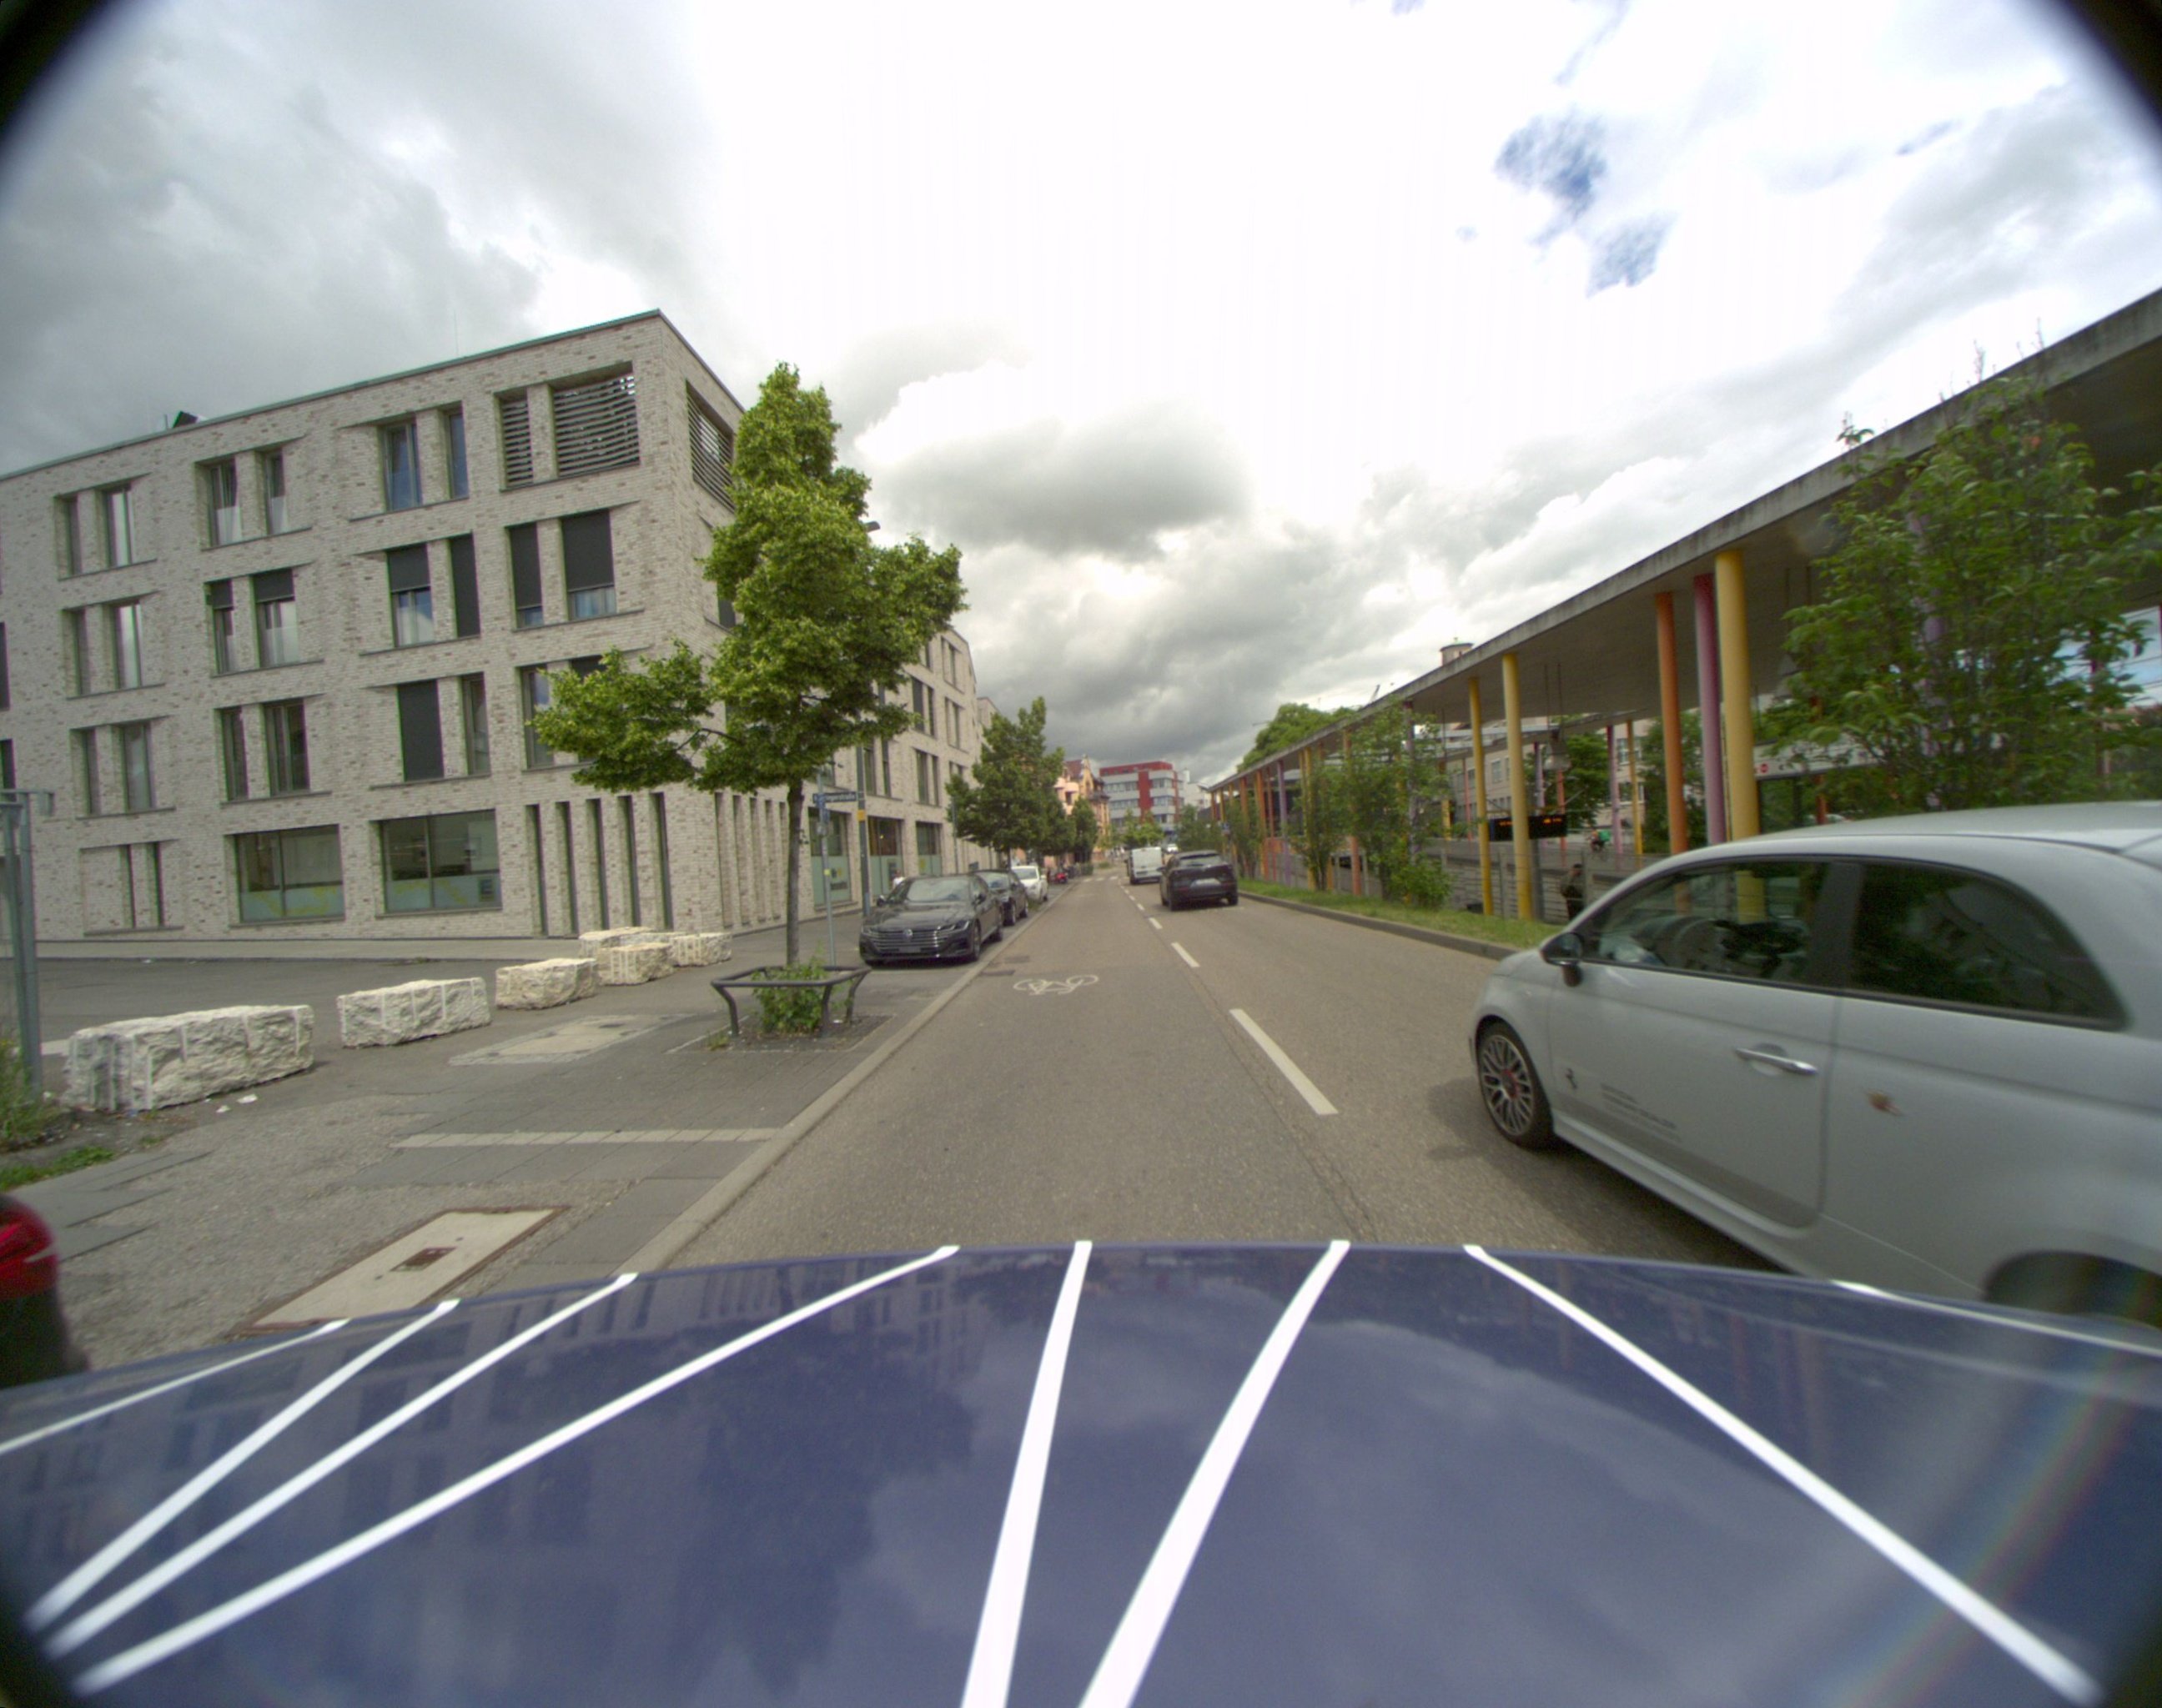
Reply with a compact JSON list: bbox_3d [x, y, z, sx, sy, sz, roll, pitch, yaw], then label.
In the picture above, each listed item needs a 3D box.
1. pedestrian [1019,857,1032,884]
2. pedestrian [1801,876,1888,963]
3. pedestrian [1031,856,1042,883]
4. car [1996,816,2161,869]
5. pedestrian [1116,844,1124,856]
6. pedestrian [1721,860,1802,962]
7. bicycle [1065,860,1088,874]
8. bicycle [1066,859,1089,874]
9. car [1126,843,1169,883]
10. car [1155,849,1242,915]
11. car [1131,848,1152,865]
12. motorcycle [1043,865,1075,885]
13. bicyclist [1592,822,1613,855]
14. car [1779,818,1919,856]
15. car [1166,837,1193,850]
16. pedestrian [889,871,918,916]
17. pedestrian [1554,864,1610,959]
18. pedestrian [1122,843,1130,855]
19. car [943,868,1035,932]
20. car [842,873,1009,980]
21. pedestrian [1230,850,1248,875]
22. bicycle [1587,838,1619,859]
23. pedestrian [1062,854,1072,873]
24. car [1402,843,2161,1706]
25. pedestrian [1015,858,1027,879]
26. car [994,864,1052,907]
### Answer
[{"bbox_3d":[-3.752,1.093,51.302,0.757,1.756,0.734,-3,2,-4],"label":"pedestrian"},{"bbox_3d":[10.085,0.849,10.055,0.566,1.076,0.484,-5,-1,1],"label":"pedestrian"},{"bbox_3d":[-2.984,1.002,50.637,0.623,1.756,0.737,-3,2,-2],"label":"pedestrian"},{"bbox_3d":[32.722,-0.384,24.425,3.992,1.329,1.571,-4,2,17],"label":"car"},{"bbox_3d":[5.588,-0.611,108.543,0.738,1.630,0.676,-3,3,41],"label":"pedestrian"},{"bbox_3d":[11.302,0.928,12.641,0.631,1.604,0.636,-5,-1,3],"label":"pedestrian"},{"bbox_3d":[-0.420,1.086,65.094,1.826,1.125,0.756,-2,1,9],"label":"bicycle"},{"bbox_3d":[-0.293,1.104,65.917,1.826,1.194,0.756,-2,1,9],"label":"bicycle"},{"bbox_3d":[3.621,0.471,42.314,2.009,1.906,5.065,-5,0,2],"label":"car"},{"bbox_3d":[3.151,0.703,21.220,1.729,1.512,4.255,-6,0,1],"label":"car"},{"bbox_3d":[6.751,0.294,84.519,1.802,1.571,4.002,-5,2,12],"label":"car"},{"bbox_3d":[-1.479,1.413,51.143,2.052,1.259,0.673,-1,2,20],"label":"motorcycle"},{"bbox_3d":[25.706,-0.782,37.466,0.485,1.584,0.681,-5,2,4],"label":"bicyclist"},{"bbox_3d":[33.858,-0.756,33.627,3.992,1.329,1.727,-4,2,17],"label":"car"},{"bbox_3d":[15.549,-1.669,119.639,4.005,1.653,1.839,-6,2,-36],"label":"car"},{"bbox_3d":[-5.915,1.310,25.357,0.608,1.464,0.791,-2,0,10],"label":"pedestrian"},{"bbox_3d":[10.251,1.158,15.553,0.588,1.820,0.710,-5,2,3],"label":"pedestrian"},{"bbox_3d":[6.405,-0.744,108.298,0.696,1.649,0.741,-4,2,27],"label":"pedestrian"},{"bbox_3d":[-2.370,1.157,20.548,1.696,1.452,4.147,-2,0,3],"label":"car"},{"bbox_3d":[-2.561,1.147,13.736,1.869,1.442,4.644,-2,0,2],"label":"car"},{"bbox_3d":[10.361,0.536,49.801,0.929,1.556,0.815,-5,2,0],"label":"pedestrian"},{"bbox_3d":[25.758,-0.281,37.515,0.485,0.957,1.613,-5,2,4],"label":"bicycle"},{"bbox_3d":[-1.349,0.897,73.672,0.659,1.731,1.018,-3,1,8],"label":"pedestrian"},{"bbox_3d":[2.824,0.756,2.577,1.775,1.499,4.000,-3,0,1],"label":"car"},{"bbox_3d":[-5.112,1.243,65.086,0.658,1.682,0.633,-2,1,43],"label":"pedestrian"},{"bbox_3d":[-2.216,1.197,29.941,1.696,1.475,3.798,-2,0,4],"label":"car"}]
